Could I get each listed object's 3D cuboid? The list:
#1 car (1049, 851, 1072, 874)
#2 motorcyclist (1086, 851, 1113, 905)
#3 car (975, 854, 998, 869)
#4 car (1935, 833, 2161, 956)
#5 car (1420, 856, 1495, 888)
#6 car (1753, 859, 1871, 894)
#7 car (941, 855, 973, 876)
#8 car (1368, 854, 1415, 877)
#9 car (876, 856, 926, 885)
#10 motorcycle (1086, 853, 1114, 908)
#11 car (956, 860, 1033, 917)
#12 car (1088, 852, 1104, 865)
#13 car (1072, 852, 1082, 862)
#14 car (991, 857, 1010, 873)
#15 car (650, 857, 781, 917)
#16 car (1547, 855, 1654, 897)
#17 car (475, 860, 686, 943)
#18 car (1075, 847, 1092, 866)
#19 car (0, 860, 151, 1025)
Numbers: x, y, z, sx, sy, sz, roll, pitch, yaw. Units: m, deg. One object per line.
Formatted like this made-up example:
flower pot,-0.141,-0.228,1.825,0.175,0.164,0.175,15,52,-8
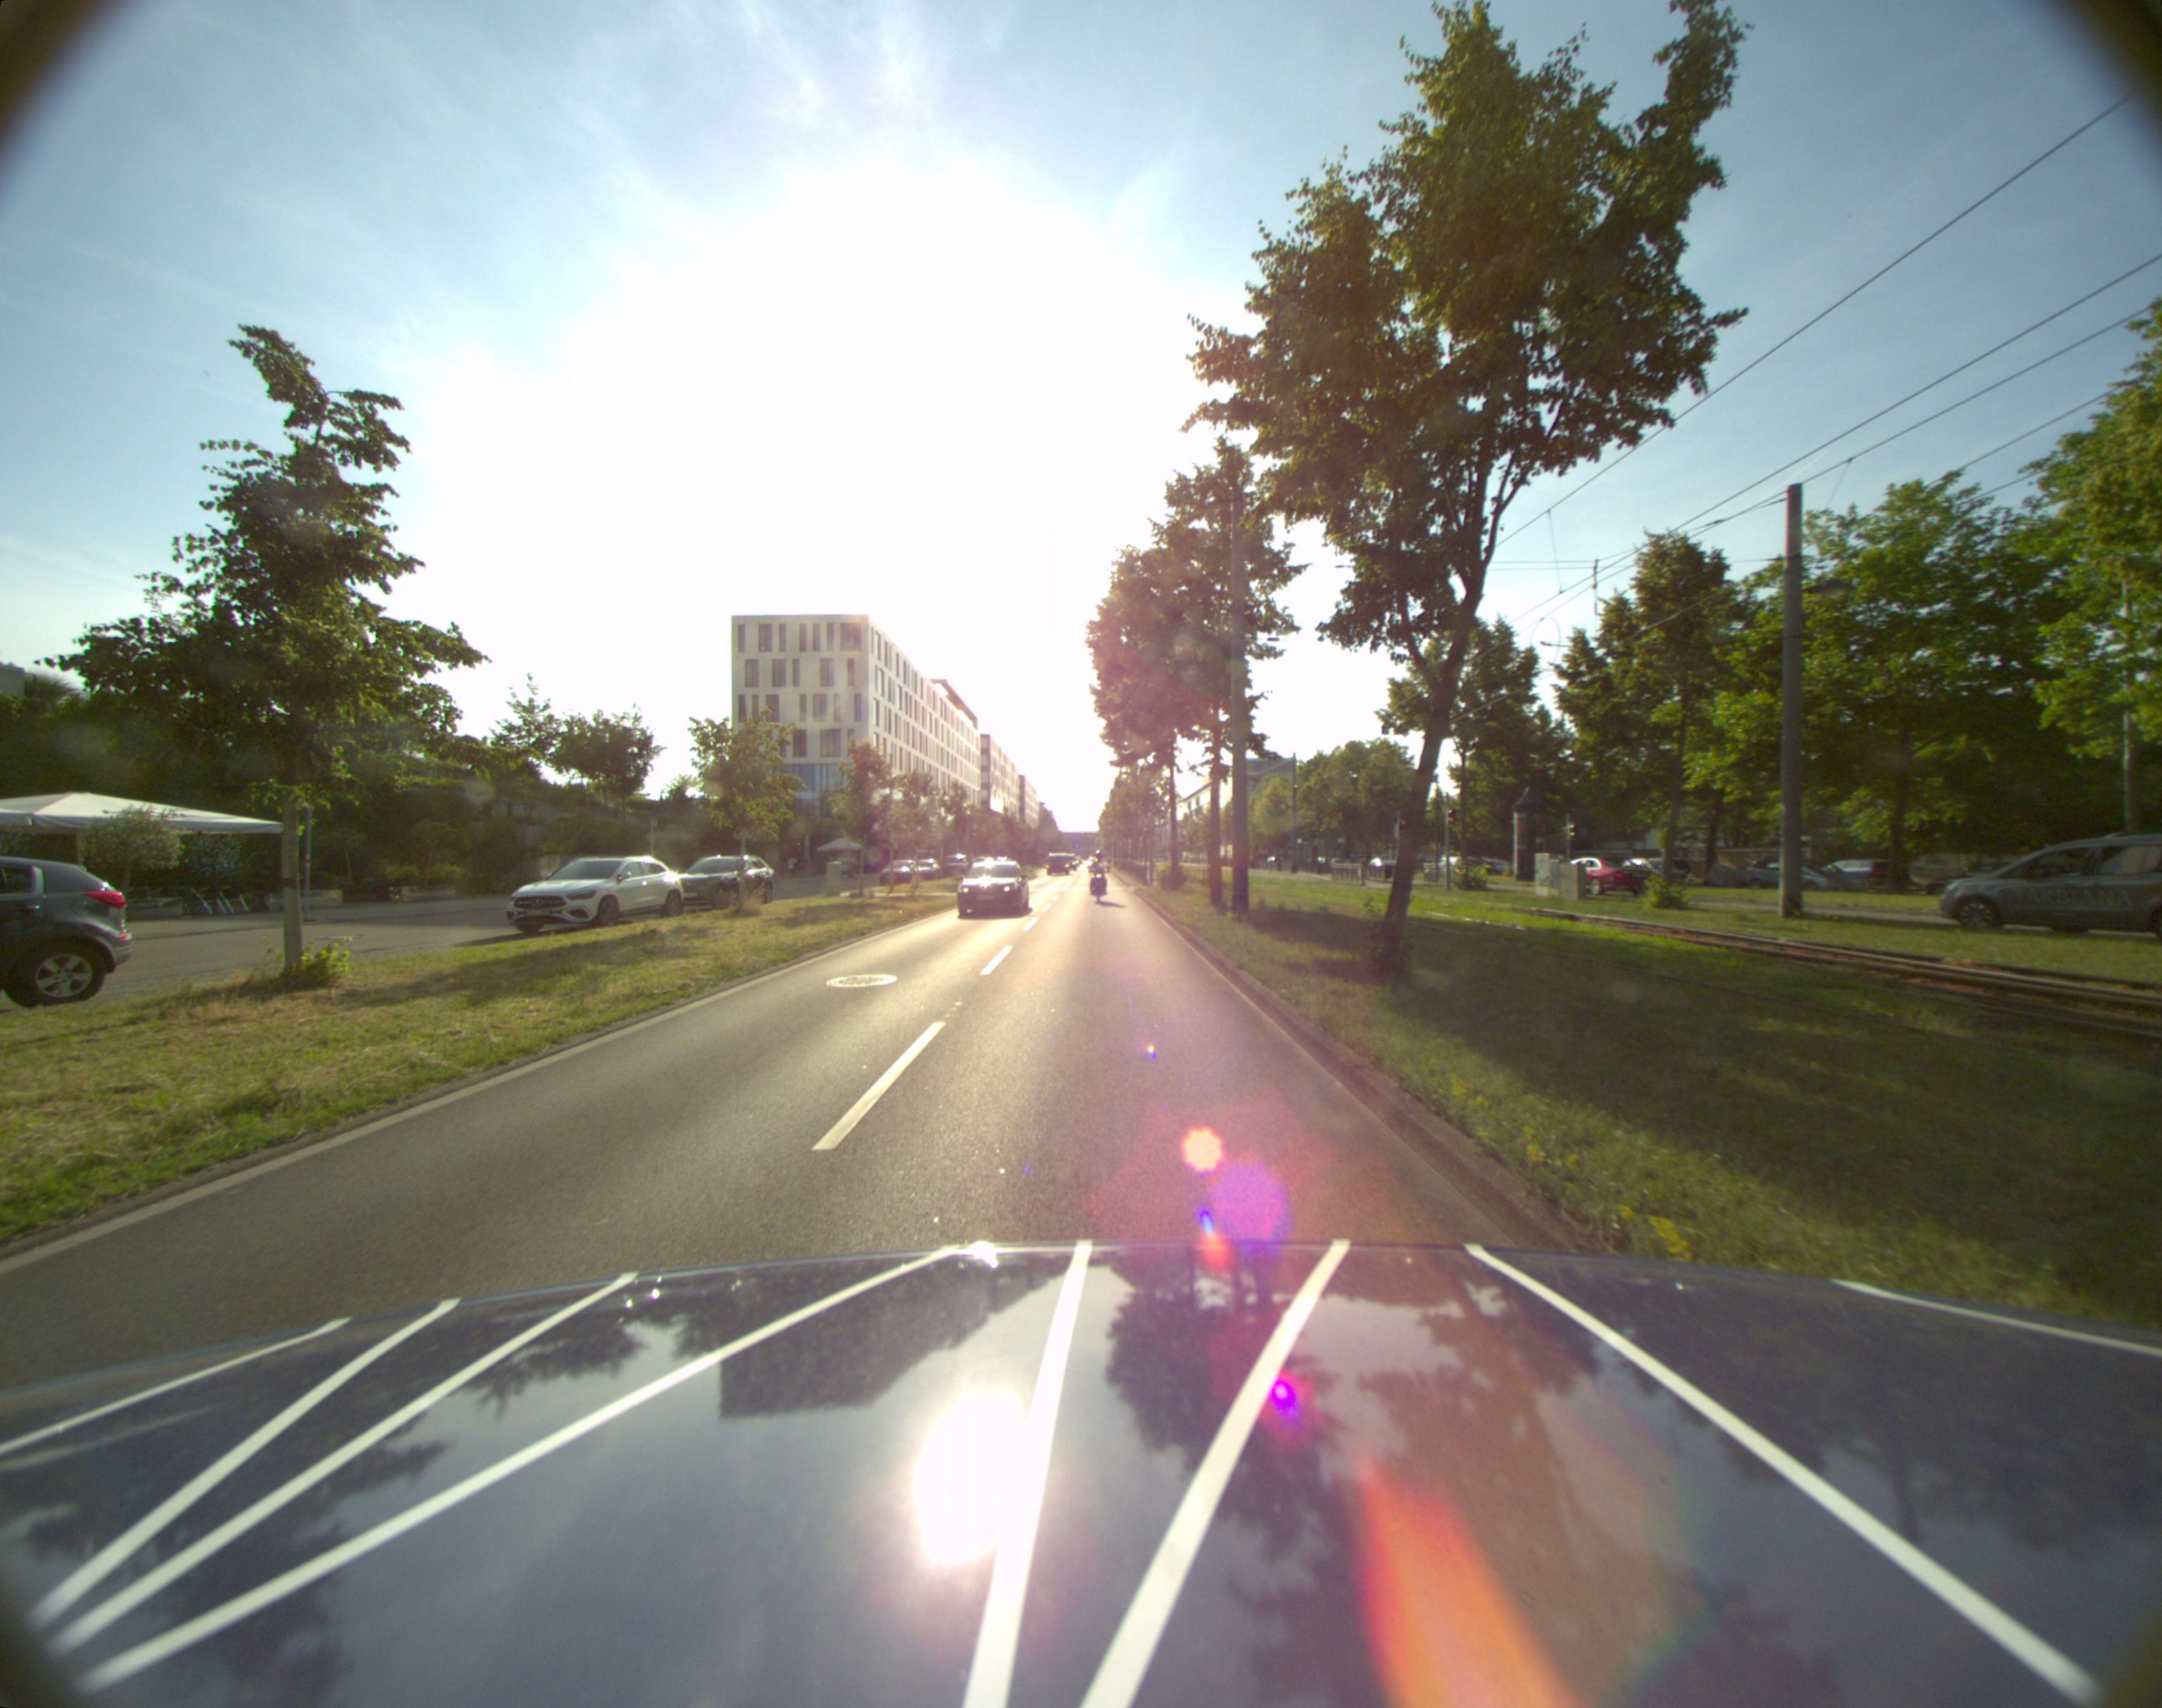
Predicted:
car,-1.790,0.709,67.739,1.803,1.880,4.821,-2,1,1
motorcyclist,0.606,0.776,25.084,0.814,1.700,0.843,-2,1,0
car,-10.121,0.784,81.792,1.840,1.521,4.328,-2,1,1
car,17.518,0.602,12.733,1.686,1.853,4.218,-2,1,1
car,17.843,0.815,36.200,1.685,1.364,3.958,-2,1,2
car,31.269,0.921,32.651,1.456,1.275,3.783,-2,1,1
car,-10.284,0.948,63.500,1.840,1.521,4.328,-2,1,1
car,21.546,0.744,52.838,1.788,1.439,3.958,-2,1,3
car,-10.603,0.952,45.050,1.840,1.521,4.328,-2,1,1
motorcycle,0.605,0.818,25.005,0.798,1.659,2.634,-2,1,0
car,-2.471,0.955,22.572,1.698,1.416,4.039,-2,1,1
car,1.814,0.534,92.143,1.756,1.427,4.034,-2,1,-2
car,-0.691,0.616,143.619,1.740,1.777,3.893,-2,1,2
car,-9.622,1.315,91.481,1.740,1.777,3.893,-2,1,1
car,-11.038,0.934,23.342,1.840,1.521,4.328,-2,1,1
car,20.520,0.838,30.209,1.685,1.439,3.958,-2,1,4
car,-11.110,0.961,17.324,1.840,1.521,4.328,-2,1,1
car,0.308,0.271,87.882,1.909,2.002,4.000,-2,1,1
car,-11.453,0.919,6.412,1.764,1.588,4.328,-2,1,1
